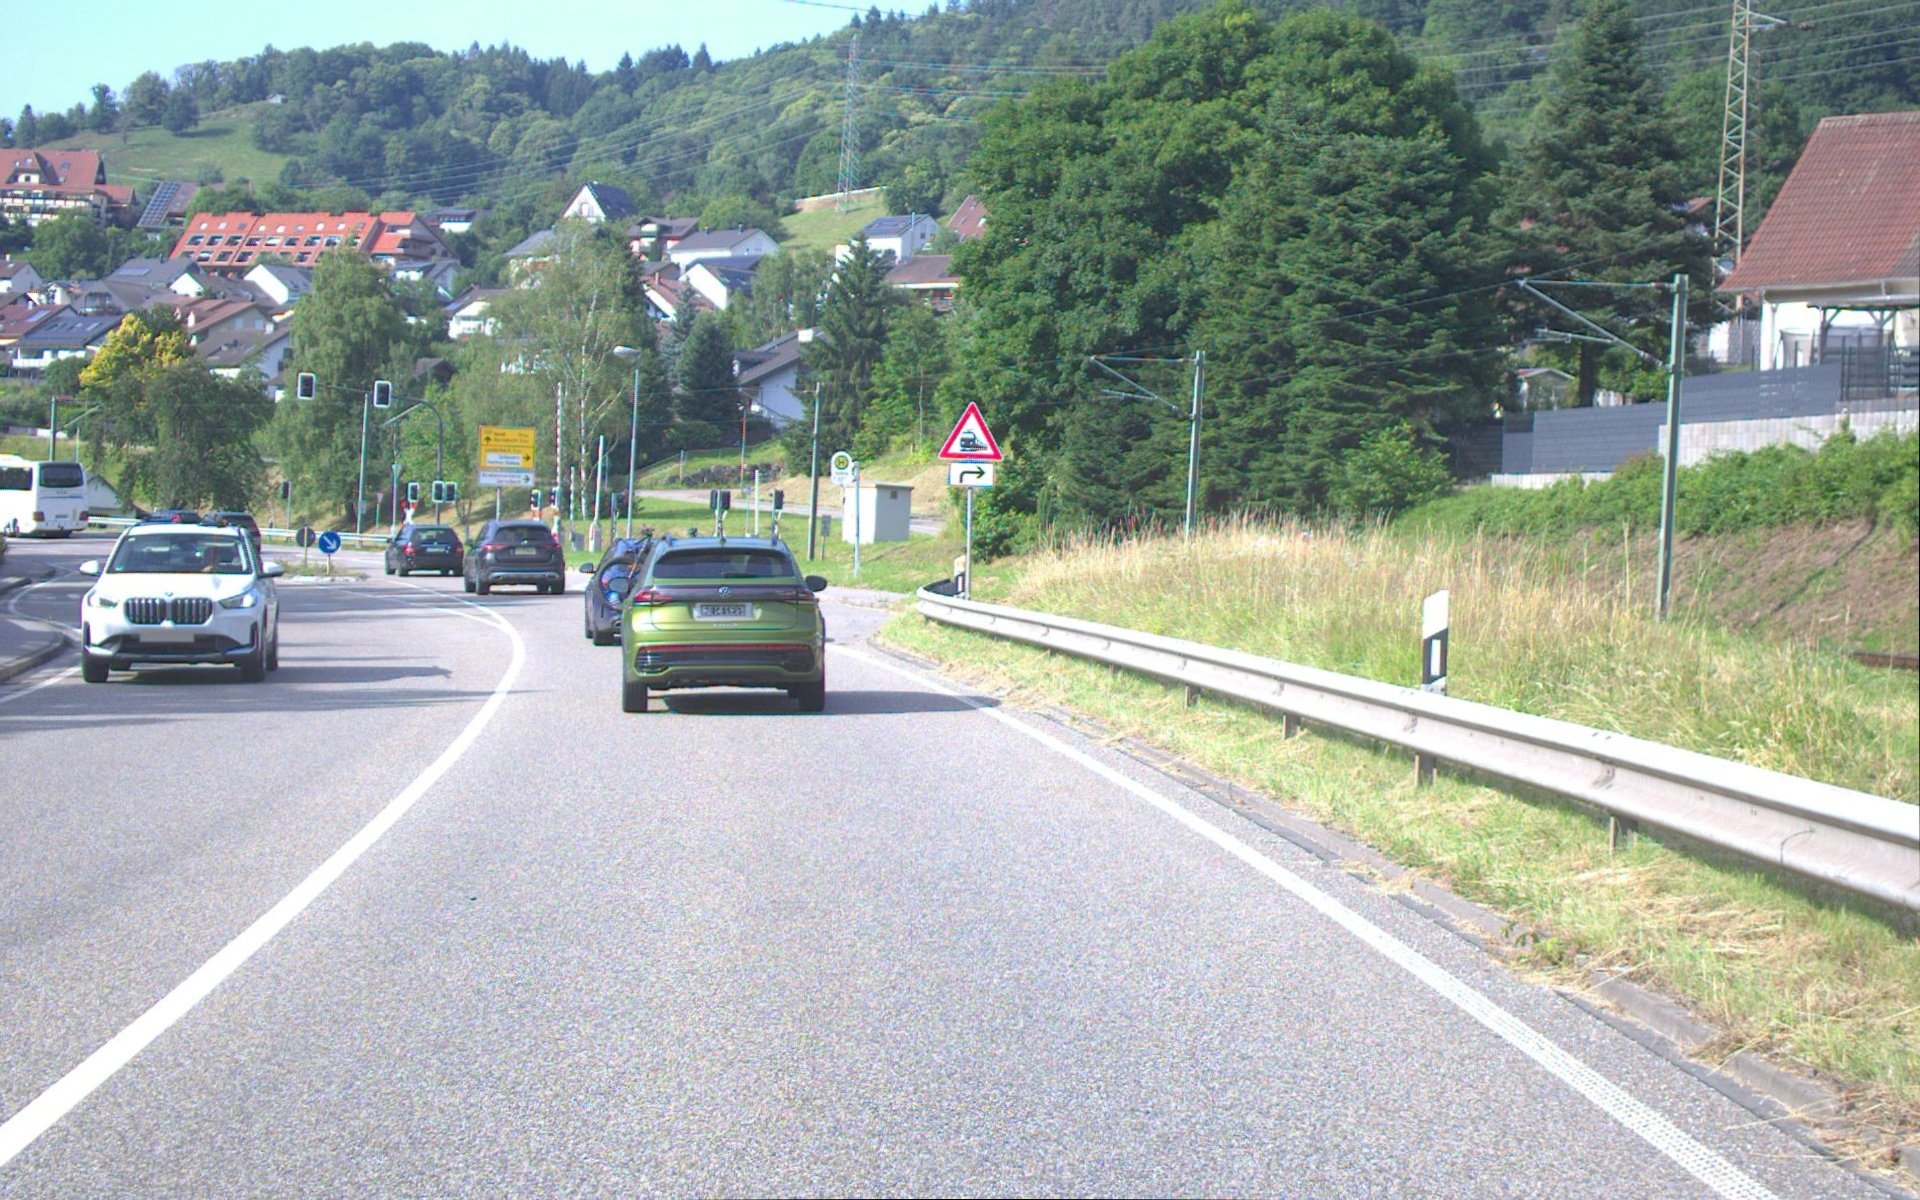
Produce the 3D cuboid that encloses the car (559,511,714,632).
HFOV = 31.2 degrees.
[{"bbox_3d":[-4.410,-0.411,46.403,1.666,1.554,4.001,0,1,-11],"label":"car"}]

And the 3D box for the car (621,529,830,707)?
[{"bbox_3d":[-2.082,0.106,30.332,1.714,1.450,4.001,0,1,-4],"label":"car"}]

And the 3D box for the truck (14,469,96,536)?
[{"bbox_3d":[-42.249,-4.574,160.353,2.711,3.073,6.110,0,2,-24],"label":"truck"}]

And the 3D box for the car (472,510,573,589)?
[{"bbox_3d":[-9.700,-1.123,76.022,1.879,1.681,4.001,-1,1,-12],"label":"car"}]

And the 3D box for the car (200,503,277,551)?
[{"bbox_3d":[-27.854,-2.827,132.653,2.063,1.805,4.001,-1,2,-24],"label":"car"}]

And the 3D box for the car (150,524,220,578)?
[{"bbox_3d":[-22.195,-1.425,98.416,1.890,1.483,4.001,-1,1,-13],"label":"car"}]

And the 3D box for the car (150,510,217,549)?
[{"bbox_3d":[-35.914,-3.257,158.897,1.993,1.739,4.000,0,1,-29],"label":"car"}]

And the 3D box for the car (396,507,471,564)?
[{"bbox_3d":[-14.643,-1.806,95.515,1.848,1.521,3.664,0,2,-12],"label":"car"}]

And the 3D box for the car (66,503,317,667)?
[{"bbox_3d":[-8.045,-0.193,36.338,1.993,1.624,4.001,0,1,-4],"label":"car"}]
